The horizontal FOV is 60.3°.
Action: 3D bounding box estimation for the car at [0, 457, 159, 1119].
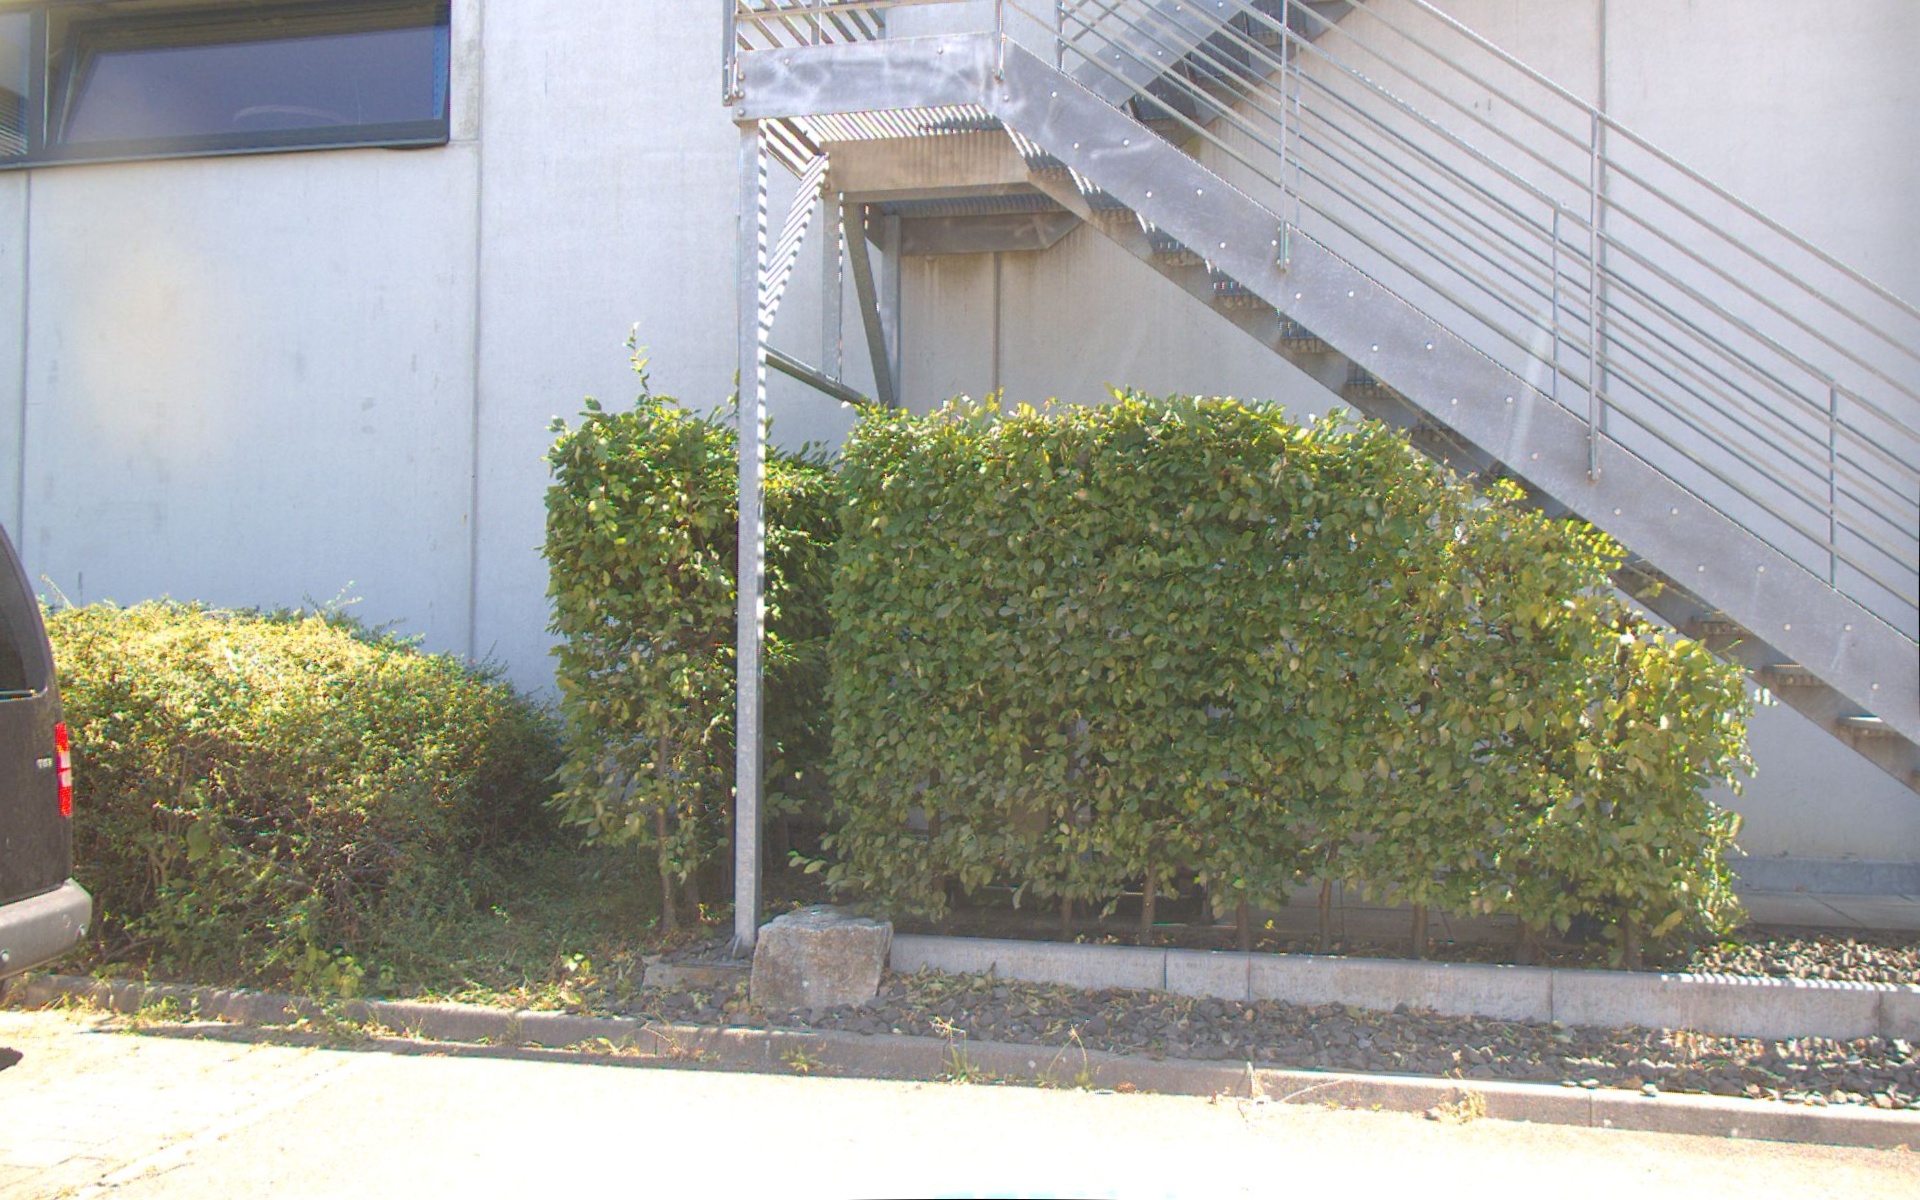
[{"bbox_3d":[-4.756,0.536,5.057,3.971,1.917,1.680,0,-1,13],"label":"car"}]
